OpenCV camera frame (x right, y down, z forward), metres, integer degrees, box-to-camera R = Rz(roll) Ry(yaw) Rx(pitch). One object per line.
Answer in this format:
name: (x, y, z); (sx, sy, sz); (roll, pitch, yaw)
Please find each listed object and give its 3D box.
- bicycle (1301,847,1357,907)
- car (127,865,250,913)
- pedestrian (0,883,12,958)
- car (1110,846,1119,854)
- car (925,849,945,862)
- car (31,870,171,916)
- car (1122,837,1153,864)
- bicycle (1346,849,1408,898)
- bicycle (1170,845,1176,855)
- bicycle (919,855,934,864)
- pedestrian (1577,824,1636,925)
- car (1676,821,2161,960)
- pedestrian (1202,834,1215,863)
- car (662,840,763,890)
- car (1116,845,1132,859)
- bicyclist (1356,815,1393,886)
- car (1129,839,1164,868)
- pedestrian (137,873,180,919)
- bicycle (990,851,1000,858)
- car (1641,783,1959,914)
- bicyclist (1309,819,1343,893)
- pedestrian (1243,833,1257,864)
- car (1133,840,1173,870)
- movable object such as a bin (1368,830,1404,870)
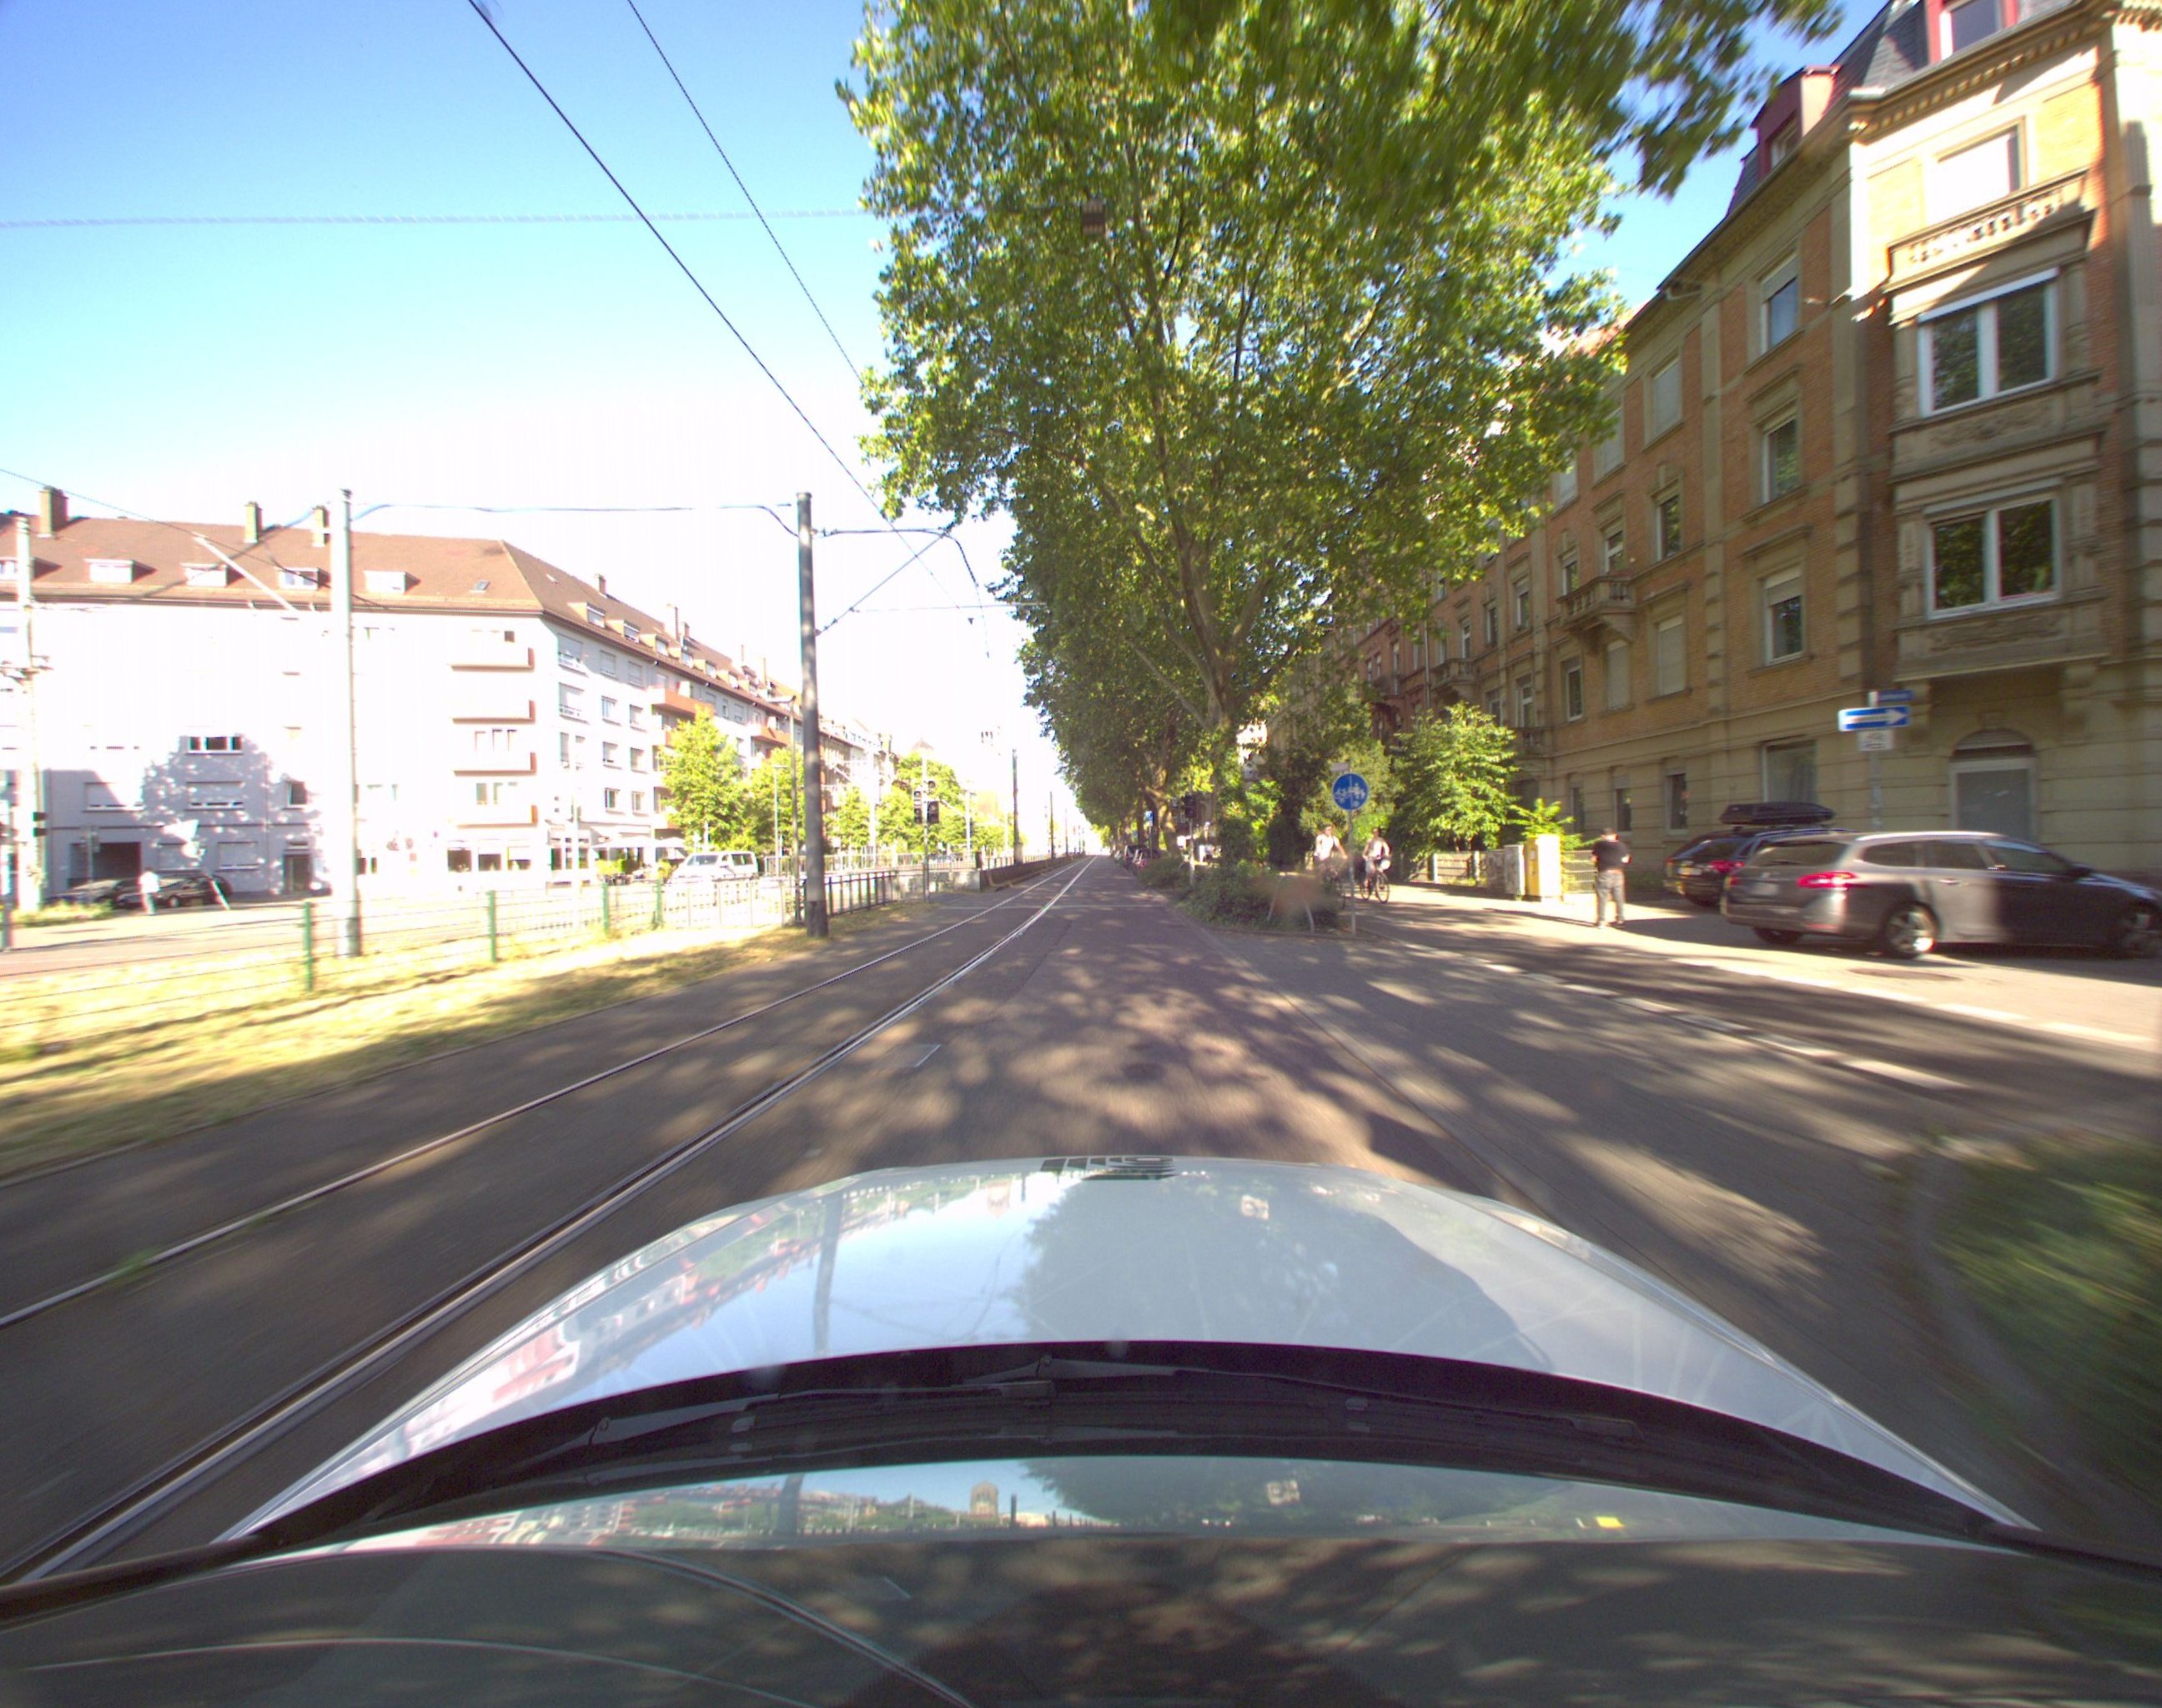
bicycle: (5.560, 0.476, 18.361); (0.559, 1.178, 2.226); (-2, 3, 0)
car: (-41.265, 1.554, 37.798); (1.819, 2.013, 3.967); (1, 1, -11)
pedestrian: (-24.604, 1.501, 18.191); (0.493, 1.673, 0.752); (1, 0, -13)
car: (6.891, -0.882, 166.499); (1.611, 1.587, 4.417); (-3, 0, 1)
car: (-19.001, 0.156, 106.094); (1.827, 1.585, 3.999); (1, 1, -1)
car: (-44.647, 1.742, 37.251); (1.994, 1.859, 3.985); (1, 1, -11)
car: (4.444, -0.313, 64.447); (1.987, 2.013, 5.202); (-3, 1, 0)
bicycle: (6.953, 0.425, 19.215); (0.560, 1.037, 1.929); (-4, 2, -5)
bicycle: (11.071, -0.489, 98.270); (0.473, 1.143, 1.897); (-4, 0, 1)
bicycle: (-19.542, 0.693, 103.097); (1.800, 1.178, 0.563); (1, 0, 3)
pedestrian: (8.349, 0.306, 12.964); (0.537, 1.549, 0.607); (-2, 3, 0)
car: (10.361, 0.401, 10.159); (4.534, 1.539, 1.907); (0, 0, -1)
pedestrian: (7.992, -0.365, 51.018); (0.686, 1.785, 0.644); (-2, 1, 0)
car: (-16.715, 0.482, 37.244); (1.985, 2.013, 5.016); (-4, 0, 3)
car: (5.087, -0.257, 96.775); (1.796, 1.477, 4.647); (-2, 0, 1)
bicyclist: (6.909, -0.090, 19.205); (0.542, 1.625, 0.643); (-3, 1, -6)
car: (3.850, -0.013, 48.211); (1.708, 1.549, 4.501); (-3, 0, 1)
pedestrian: (-31.959, 1.442, 28.217); (0.655, 1.556, 0.728); (1, 0, 1)
bicycle: (-17.555, 0.101, 166.099); (1.721, 1.279, 0.601); (-2, 0, 7)
car: (12.641, -0.160, 14.544); (3.975, 2.013, 2.000); (-2, 4, -1)
bicyclist: (5.546, 0.026, 18.471); (0.541, 1.625, 0.644); (-2, 2, 0)
pedestrian: (8.996, -0.316, 43.400); (0.528, 1.627, 0.618); (-4, 1, 1)
car: (3.677, 0.085, 42.367); (1.709, 1.462, 3.999); (-1, 0, 0)
movable object such as a bin: (11.670, -0.152, 31.204); (0.904, 1.464, 1.083); (-4, 0, 0)
